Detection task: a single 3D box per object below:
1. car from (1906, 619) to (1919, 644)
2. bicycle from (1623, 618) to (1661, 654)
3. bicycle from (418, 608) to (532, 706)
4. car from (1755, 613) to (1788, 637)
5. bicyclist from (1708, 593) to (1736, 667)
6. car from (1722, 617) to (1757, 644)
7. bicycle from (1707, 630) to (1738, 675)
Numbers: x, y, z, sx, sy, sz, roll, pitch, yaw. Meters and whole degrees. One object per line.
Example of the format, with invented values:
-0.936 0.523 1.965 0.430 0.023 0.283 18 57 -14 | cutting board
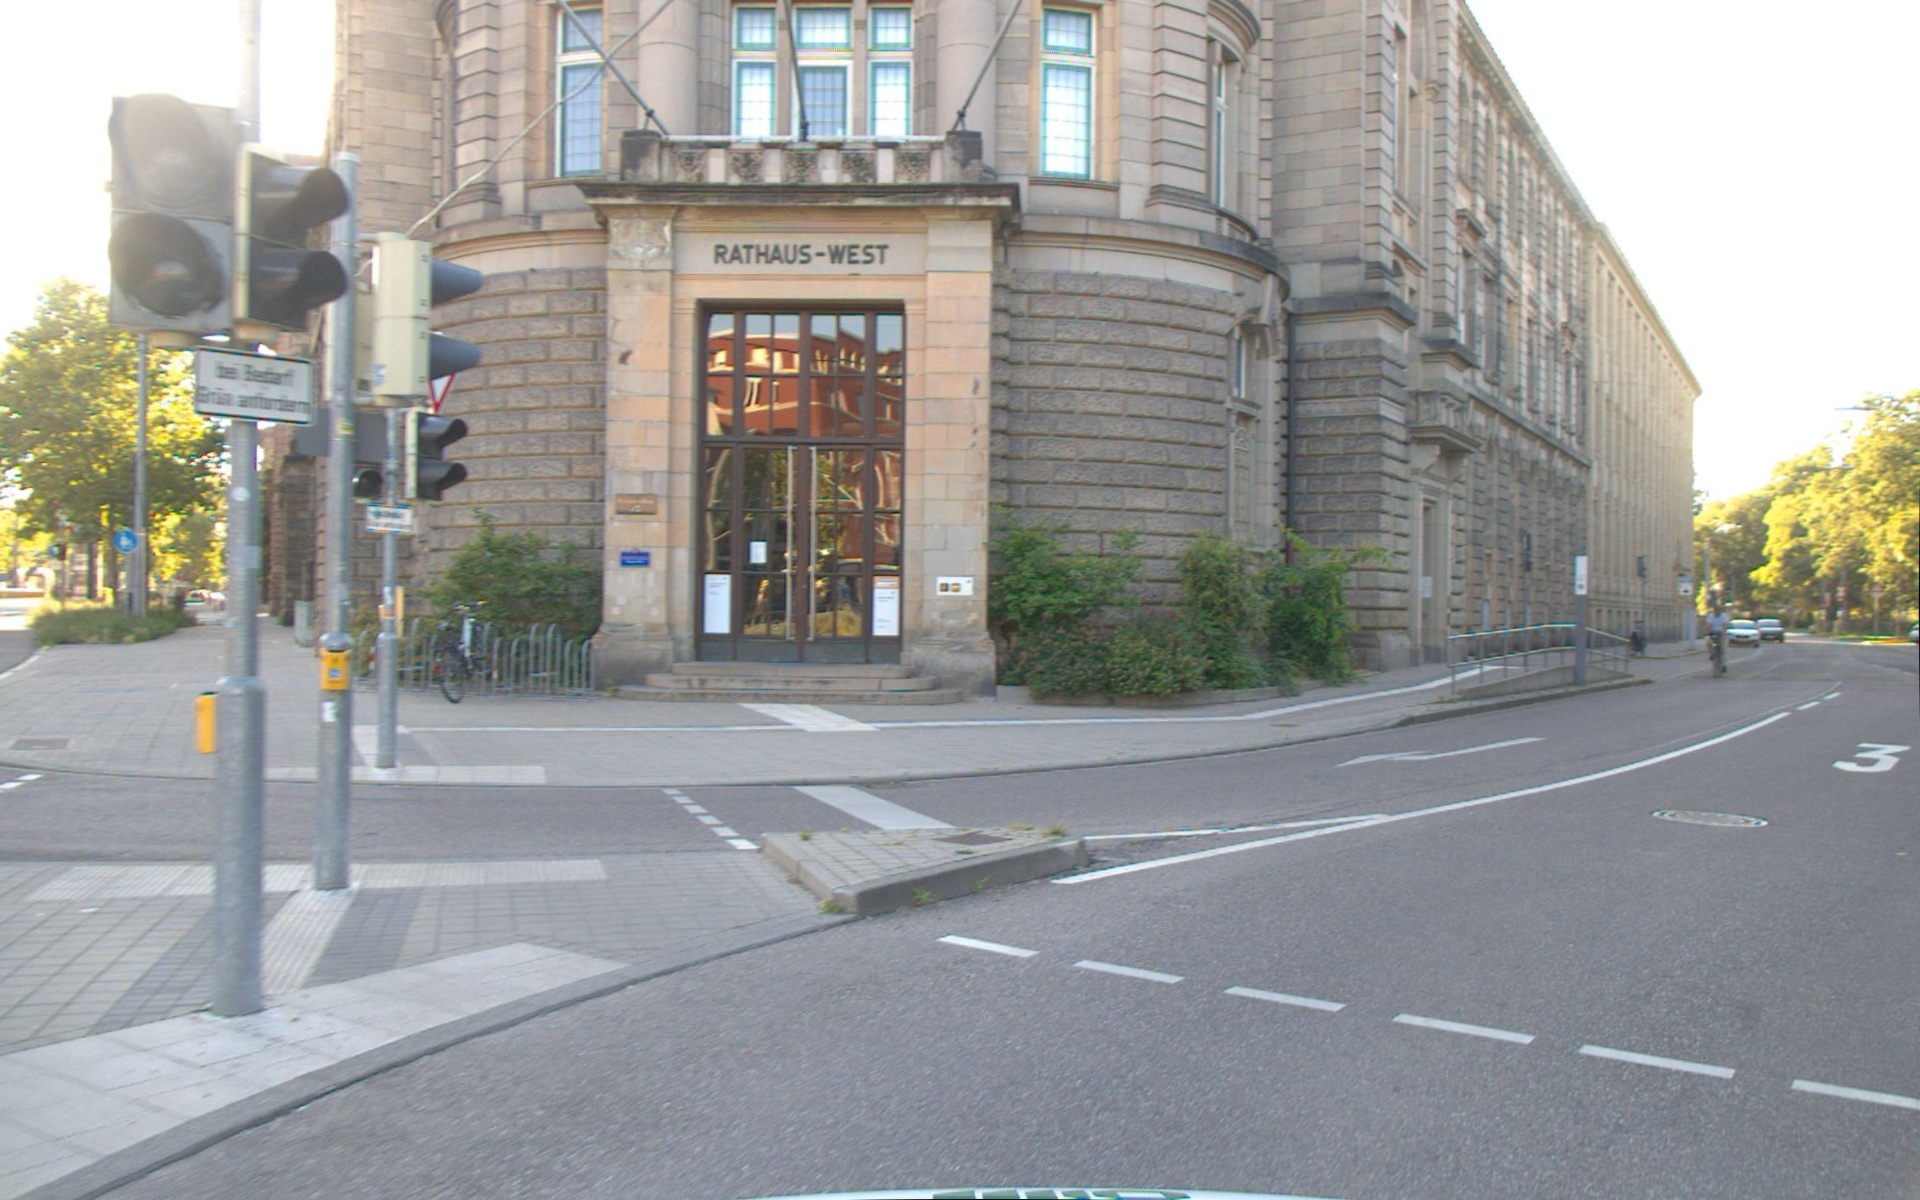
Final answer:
59.146 1.895 100.060 3.079 1.529 1.540 -1 -1 22 | car
22.679 1.181 55.000 0.837 1.120 1.977 3 1 32 | bicycle
-6.294 0.711 21.591 0.849 1.217 2.239 0 0 -1 | bicycle
52.863 1.586 107.784 1.841 1.492 4.370 1 0 25 | car
19.143 0.743 41.556 0.632 1.838 0.780 0 -1 23 | bicyclist
43.750 1.711 92.878 1.693 1.421 4.370 1 0 25 | car
19.108 1.294 41.489 0.649 1.089 2.152 0 -1 23 | bicycle
